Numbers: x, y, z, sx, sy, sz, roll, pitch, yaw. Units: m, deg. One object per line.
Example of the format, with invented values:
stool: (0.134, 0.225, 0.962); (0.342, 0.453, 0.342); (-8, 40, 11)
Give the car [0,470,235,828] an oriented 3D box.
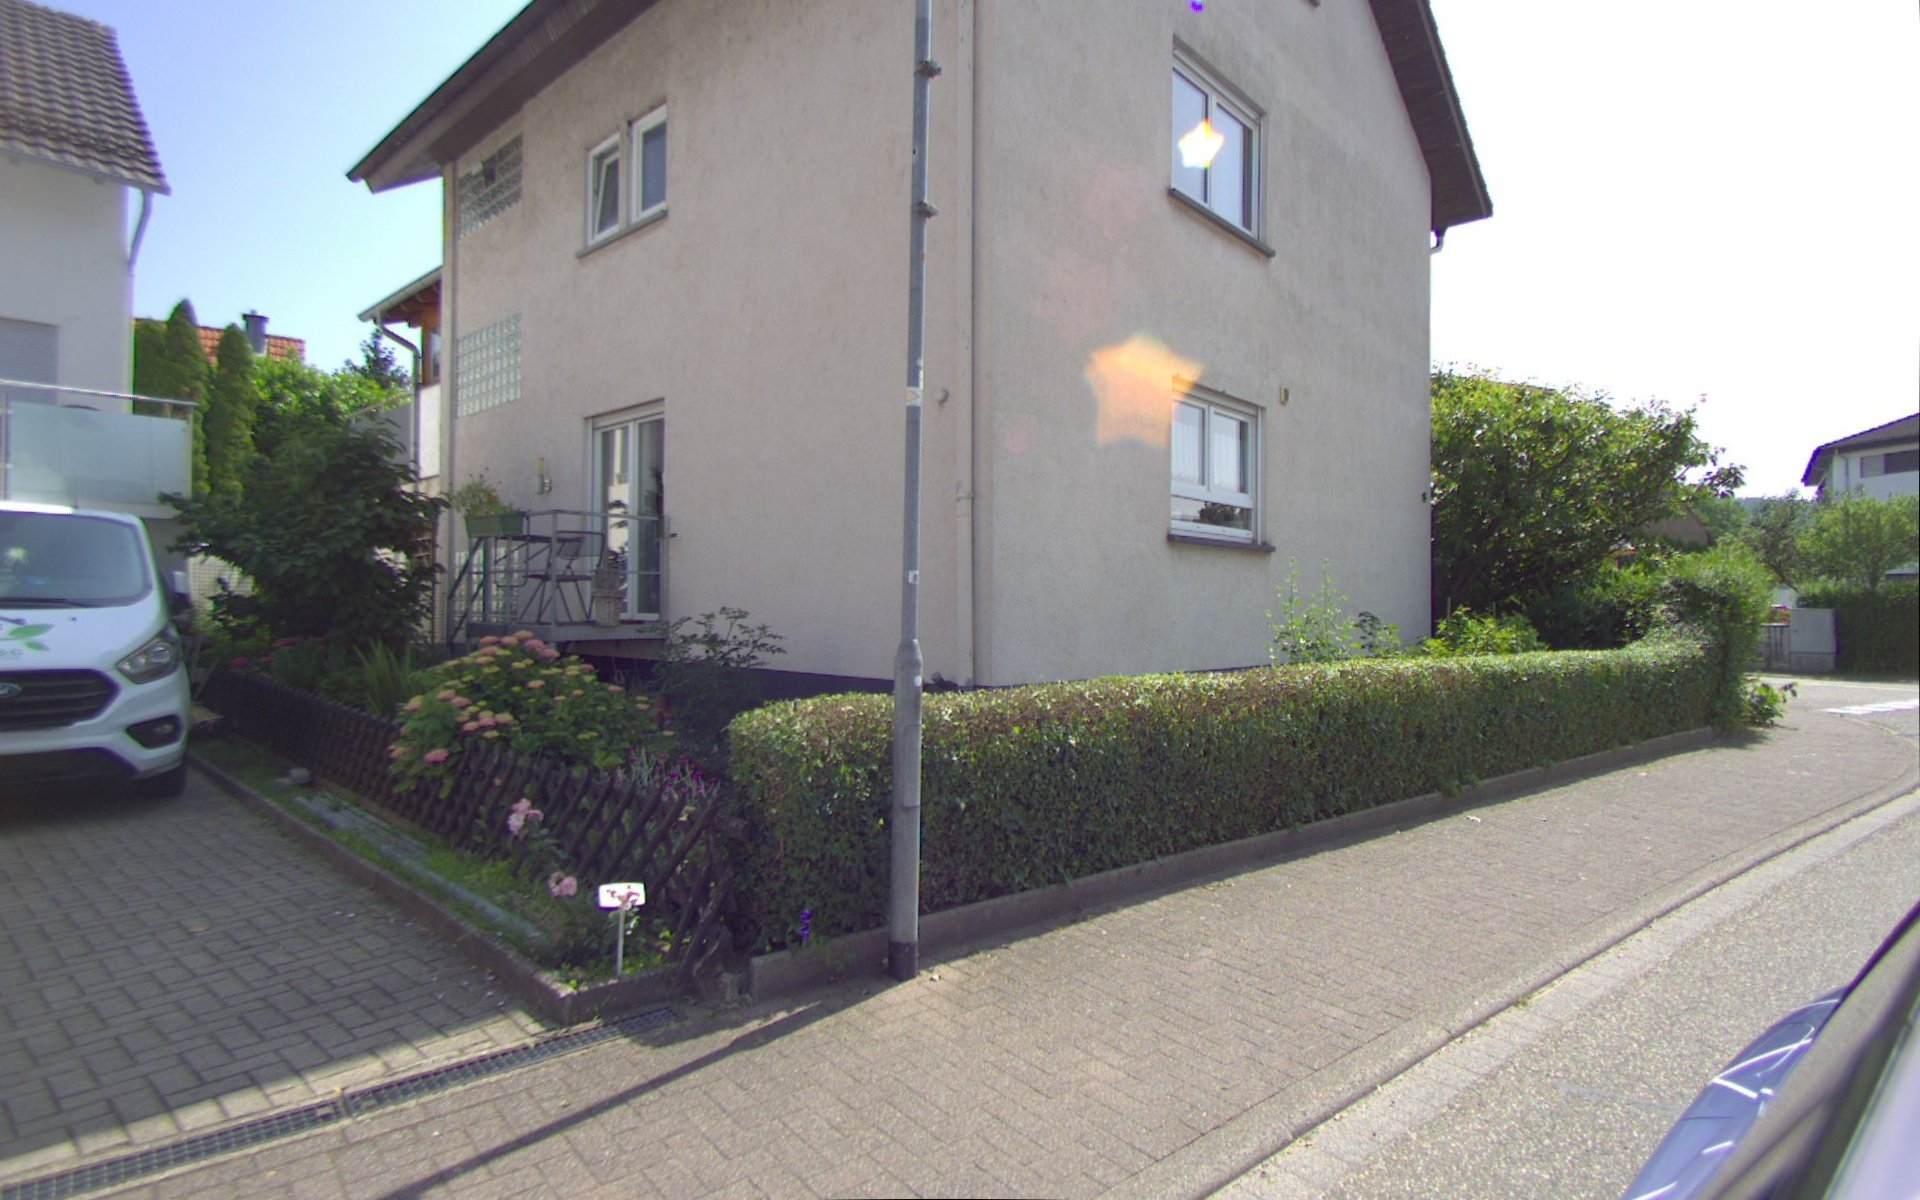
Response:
car: (-6.953, 0.216, 7.242); (4.981, 1.937, 2.023); (2, 0, 44)
